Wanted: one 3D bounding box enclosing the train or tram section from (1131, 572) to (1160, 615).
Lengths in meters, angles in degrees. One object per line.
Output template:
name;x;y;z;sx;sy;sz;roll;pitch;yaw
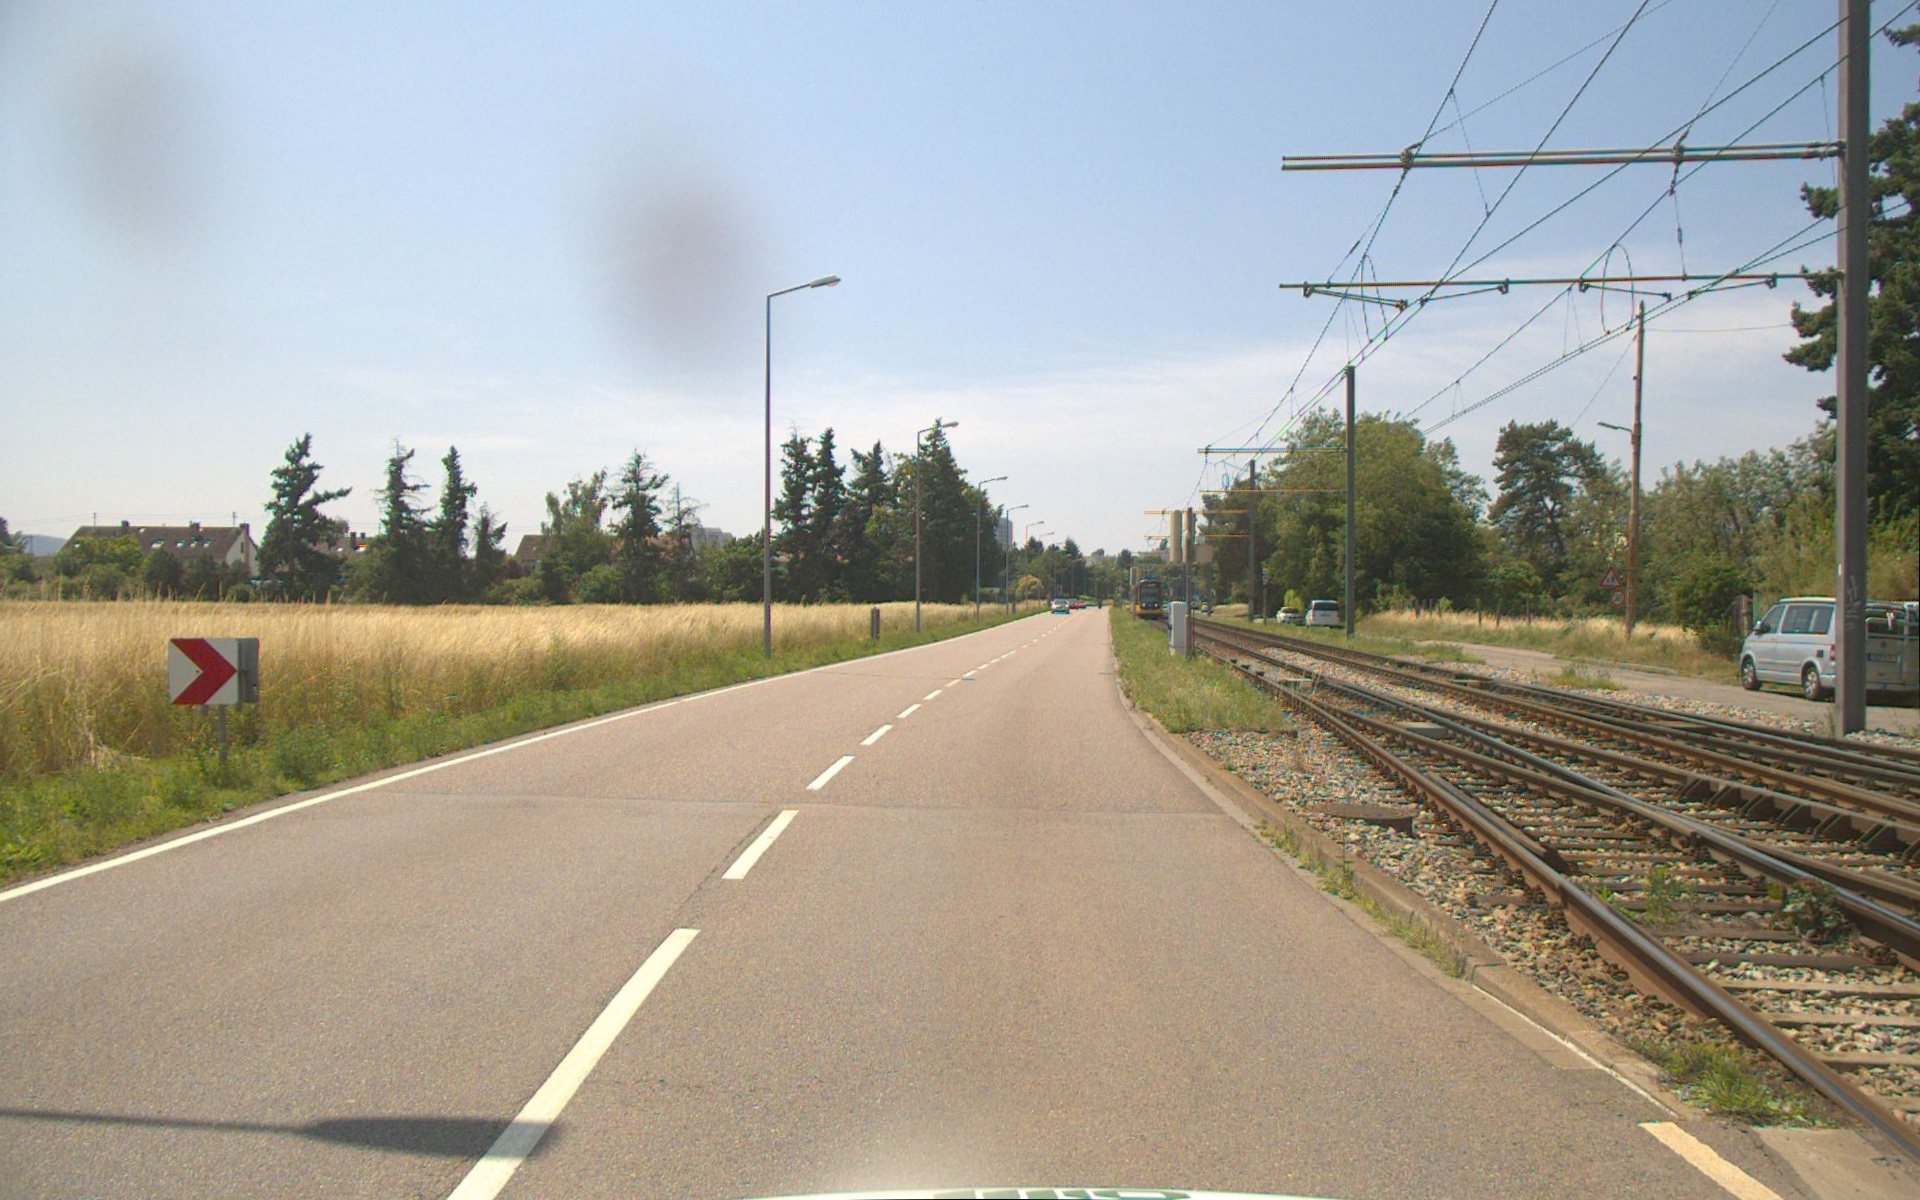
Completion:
train or tram section;17.423;-0.526;155.799;2.378;3.832;11.565;0;-1;5

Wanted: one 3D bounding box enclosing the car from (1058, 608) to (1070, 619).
car;14.124;1.843;224.415;1.610;1.424;3.846;0;-1;5

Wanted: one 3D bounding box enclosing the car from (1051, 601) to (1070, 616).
car;10.485;0.888;172.388;1.795;1.493;4.680;0;-1;5

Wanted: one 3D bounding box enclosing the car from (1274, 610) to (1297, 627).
car;25.468;1.449;129.638;1.398;1.331;3.467;0;-1;5

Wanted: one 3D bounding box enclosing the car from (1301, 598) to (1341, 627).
car;24.098;0.860;110.559;1.951;1.834;4.796;0;-1;5

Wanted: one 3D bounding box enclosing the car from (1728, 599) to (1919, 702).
car;17.434;0.989;33.424;1.993;1.915;5.072;0;-1;7
